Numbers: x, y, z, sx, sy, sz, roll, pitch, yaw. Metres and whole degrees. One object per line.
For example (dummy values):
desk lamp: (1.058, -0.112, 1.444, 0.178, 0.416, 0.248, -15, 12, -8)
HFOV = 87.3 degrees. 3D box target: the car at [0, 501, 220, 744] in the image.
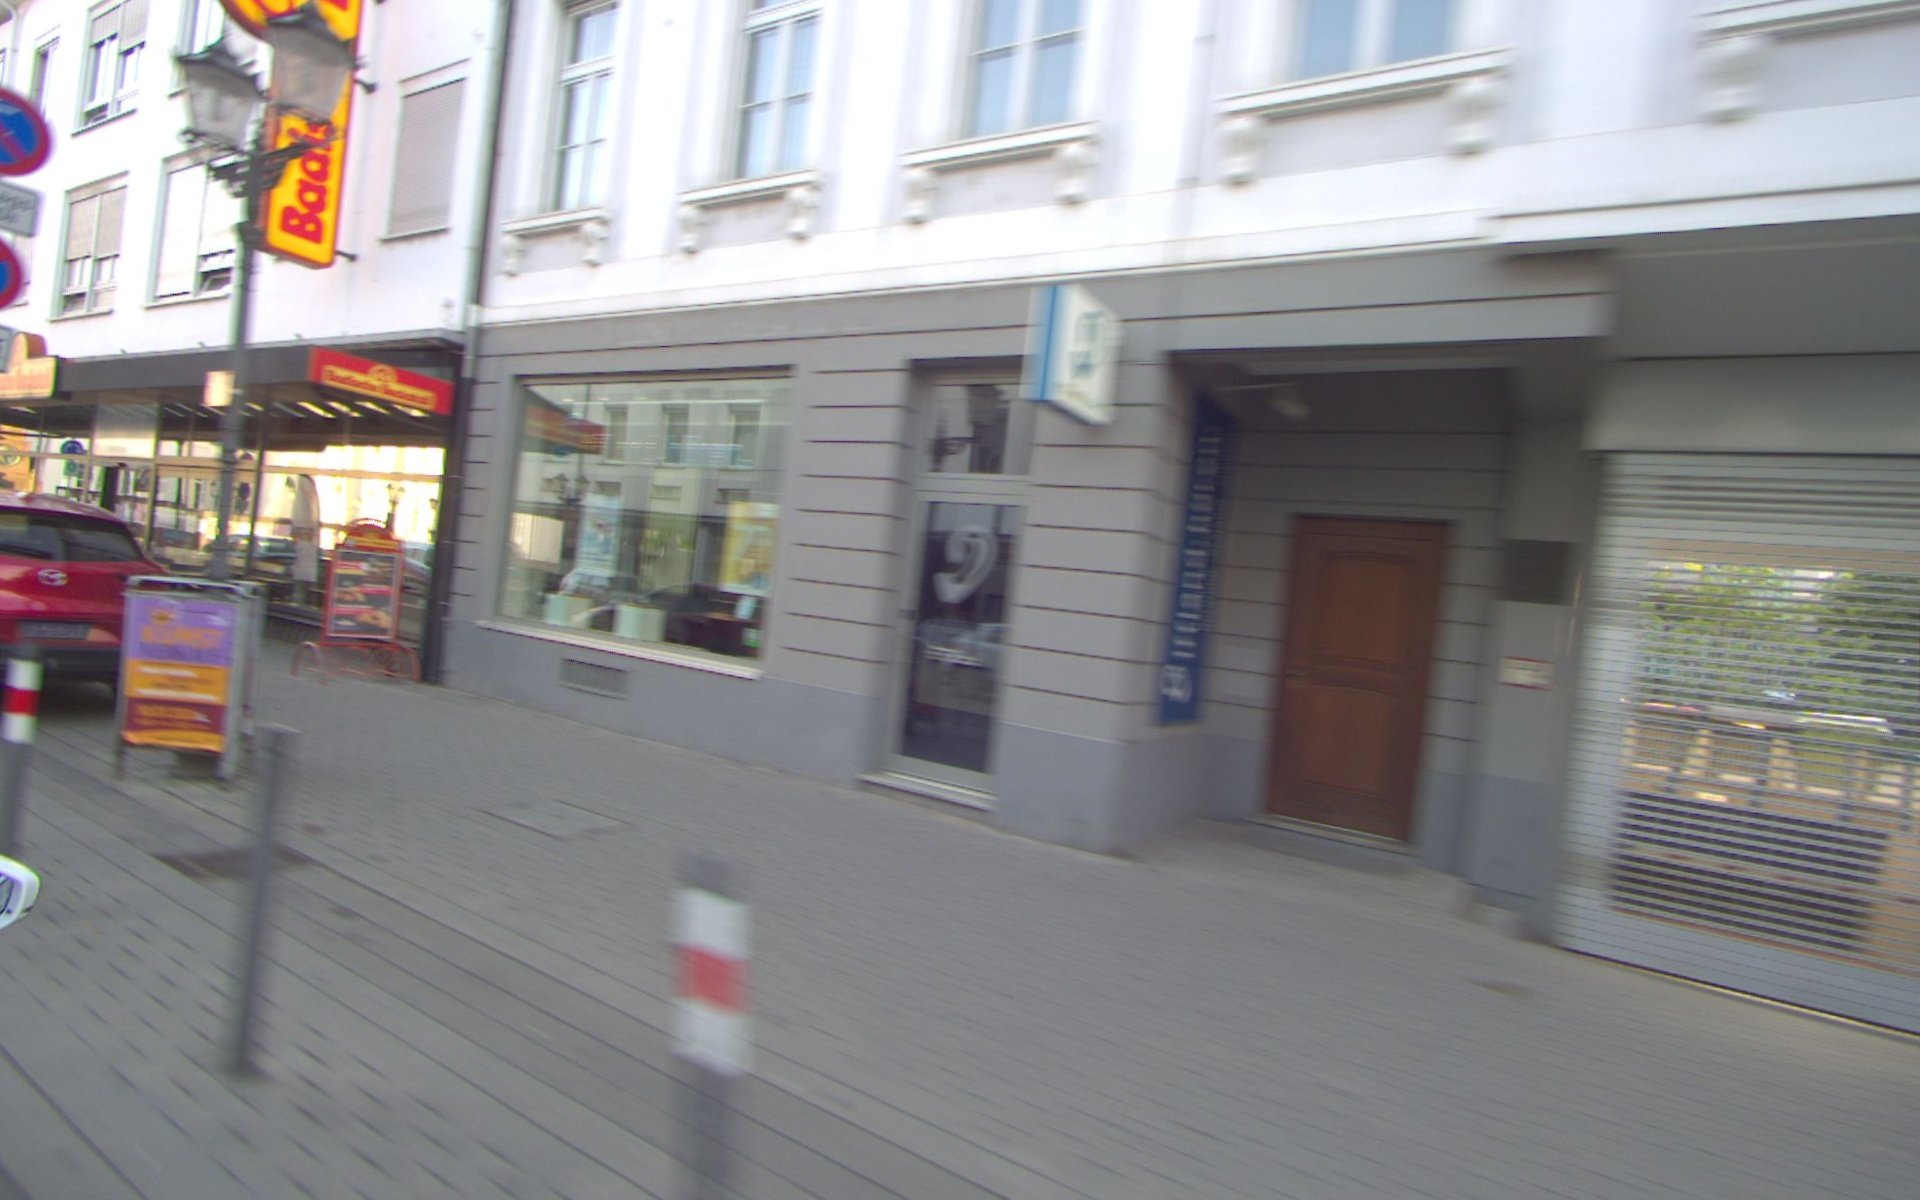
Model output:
car: (-7.493, 0.005, 7.623, 3.617, 1.541, 1.762, 7, -1, 33)
